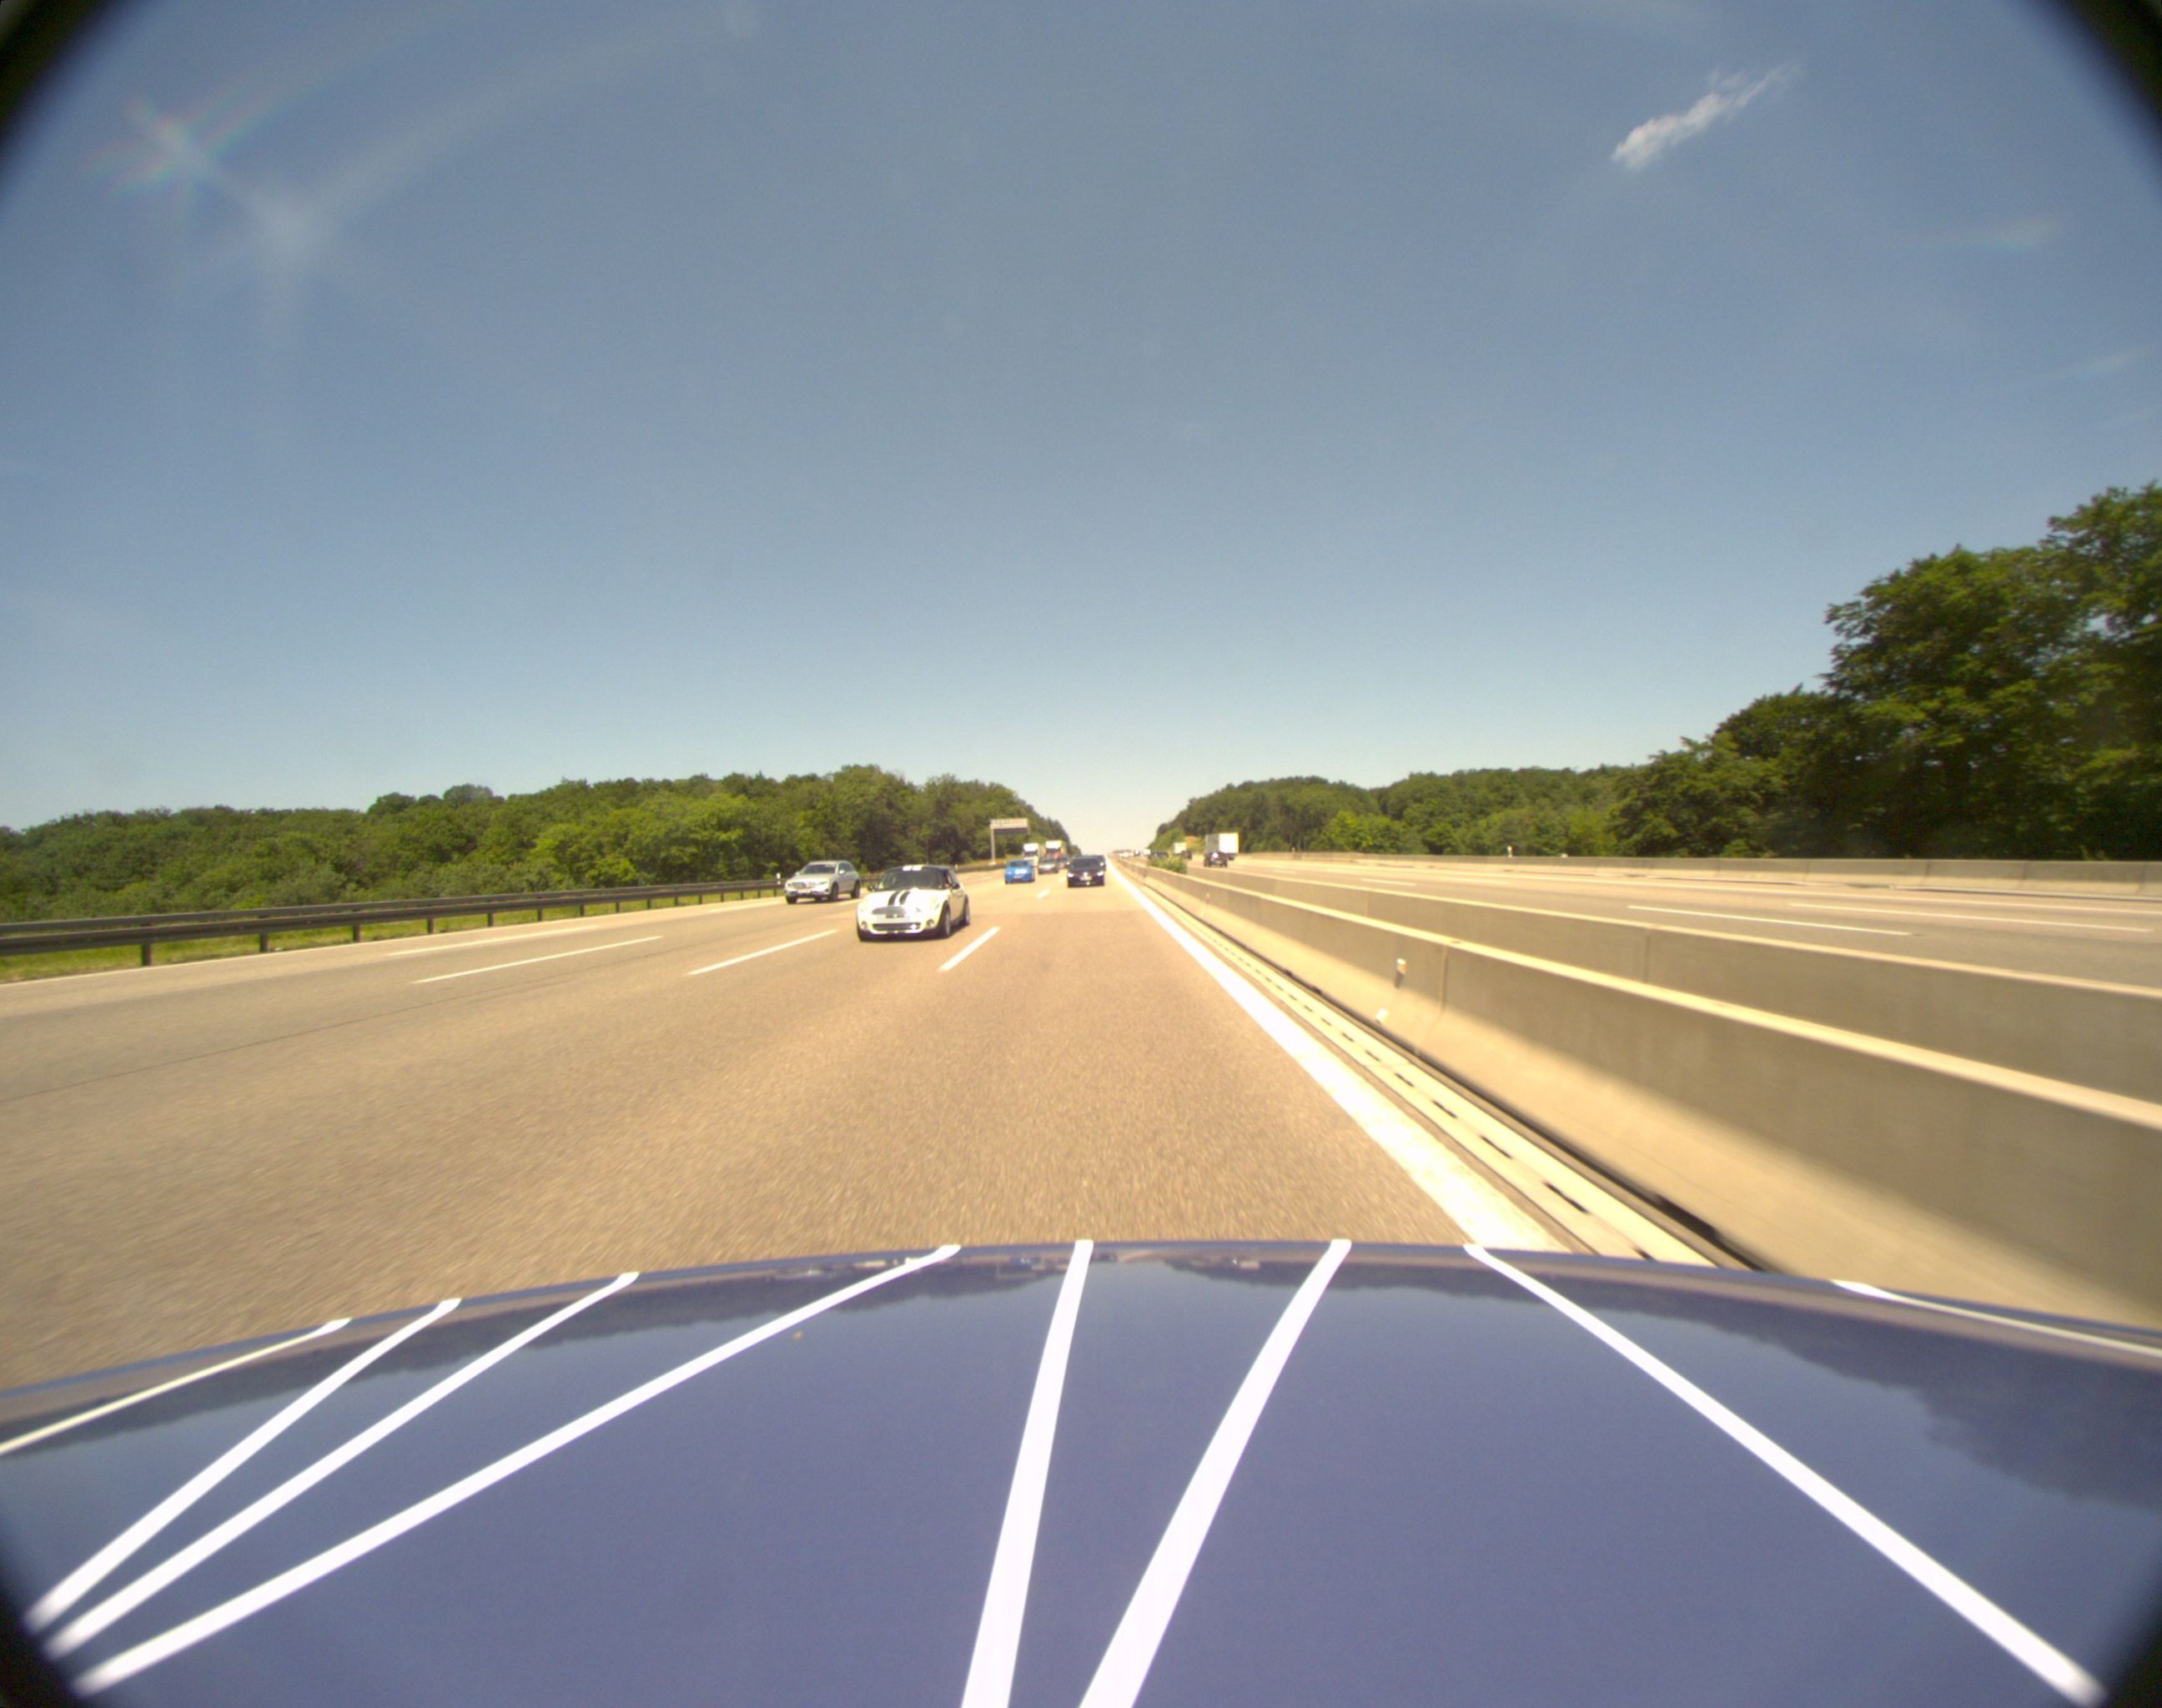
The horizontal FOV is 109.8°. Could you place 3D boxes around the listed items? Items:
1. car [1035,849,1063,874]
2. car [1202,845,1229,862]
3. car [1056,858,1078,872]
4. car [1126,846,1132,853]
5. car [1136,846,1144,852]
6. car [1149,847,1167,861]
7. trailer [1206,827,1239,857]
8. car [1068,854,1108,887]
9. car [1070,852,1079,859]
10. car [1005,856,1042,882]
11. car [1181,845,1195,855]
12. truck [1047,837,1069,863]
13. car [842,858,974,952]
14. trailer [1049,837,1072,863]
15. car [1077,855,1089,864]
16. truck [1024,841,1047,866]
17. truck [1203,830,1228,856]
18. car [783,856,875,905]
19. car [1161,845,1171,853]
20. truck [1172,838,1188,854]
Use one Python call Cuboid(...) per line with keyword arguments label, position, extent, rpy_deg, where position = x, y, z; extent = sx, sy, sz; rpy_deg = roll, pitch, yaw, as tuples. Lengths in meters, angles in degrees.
Cuboid(label="car", position=(-2.811, 0.630, 67.895), extent=(1.966, 2.041, 4.784), rpy_deg=(-4, 0, 3))
Cuboid(label="car", position=(12.214, -0.040, 69.195), extent=(1.771, 1.470, 4.481), rpy_deg=(-2, 1, 2))
Cuboid(label="car", position=(-1.545, 1.236, 85.368), extent=(1.971, 1.444, 5.226), rpy_deg=(-3, -1, 3))
Cuboid(label="car", position=(14.550, -1.287, 229.485), extent=(1.778, 1.868, 5.212), rpy_deg=(-4, -1, 3))
Cuboid(label="car", position=(18.195, -1.517, 234.737), extent=(1.998, 1.724, 4.925), rpy_deg=(-3, 0, 2))
Cuboid(label="car", position=(9.389, 0.011, 92.865), extent=(1.836, 1.559, 4.786), rpy_deg=(-2, 0, 2))
Cuboid(label="trailer", position=(21.345, -1.695, 115.233), extent=(2.649, 4.200, 14.361), rpy_deg=(-1, 0, 2))
Cuboid(label="car", position=(0.394, 0.769, 37.196), extent=(1.777, 1.425, 4.143), rpy_deg=(-3, 0, 2))
Cuboid(label="car", position=(-1.720, 0.387, 204.689), extent=(1.910, 1.503, 4.161), rpy_deg=(-4, -1, 3))
Cuboid(label="car", position=(-3.523, 0.887, 47.055), extent=(1.741, 1.403, 4.000), rpy_deg=(-3, 0, 2))
Cuboid(label="car", position=(17.737, -0.650, 126.438), extent=(1.802, 1.633, 5.080), rpy_deg=(-1, 0, 2))
Cuboid(label="truck", position=(-3.785, -0.607, 128.149), extent=(3.018, 3.957, 7.542), rpy_deg=(-4, -1, 2))
Cuboid(label="car", position=(-3.366, 0.921, 15.581), extent=(1.846, 1.543, 3.999), rpy_deg=(-1, 1, -1))
Cuboid(label="trailer", position=(-3.496, -0.601, 135.013), extent=(2.926, 4.118, 14.853), rpy_deg=(-3, -1, 2))
Cuboid(label="car", position=(0.384, 1.062, 143.381), extent=(1.910, 1.503, 4.161), rpy_deg=(-4, -1, 3))
Cuboid(label="truck", position=(-8.137, -0.048, 137.980), extent=(2.728, 4.136, 10.972), rpy_deg=(-4, -1, 2))
Cuboid(label="truck", position=(21.494, -1.703, 121.838), extent=(2.721, 4.076, 7.877), rpy_deg=(-1, 0, 2))
Cuboid(label="car", position=(-10.322, 1.039, 31.592), extent=(1.805, 1.721, 5.240), rpy_deg=(-4, -1, 2))
Cuboid(label="car", position=(18.835, -1.126, 168.721), extent=(1.802, 1.472, 4.398), rpy_deg=(4, -1, 2))
Cuboid(label="truck", position=(23.496, -1.933, 180.747), extent=(2.545, 3.550, 8.577), rpy_deg=(-2, 0, 1))
